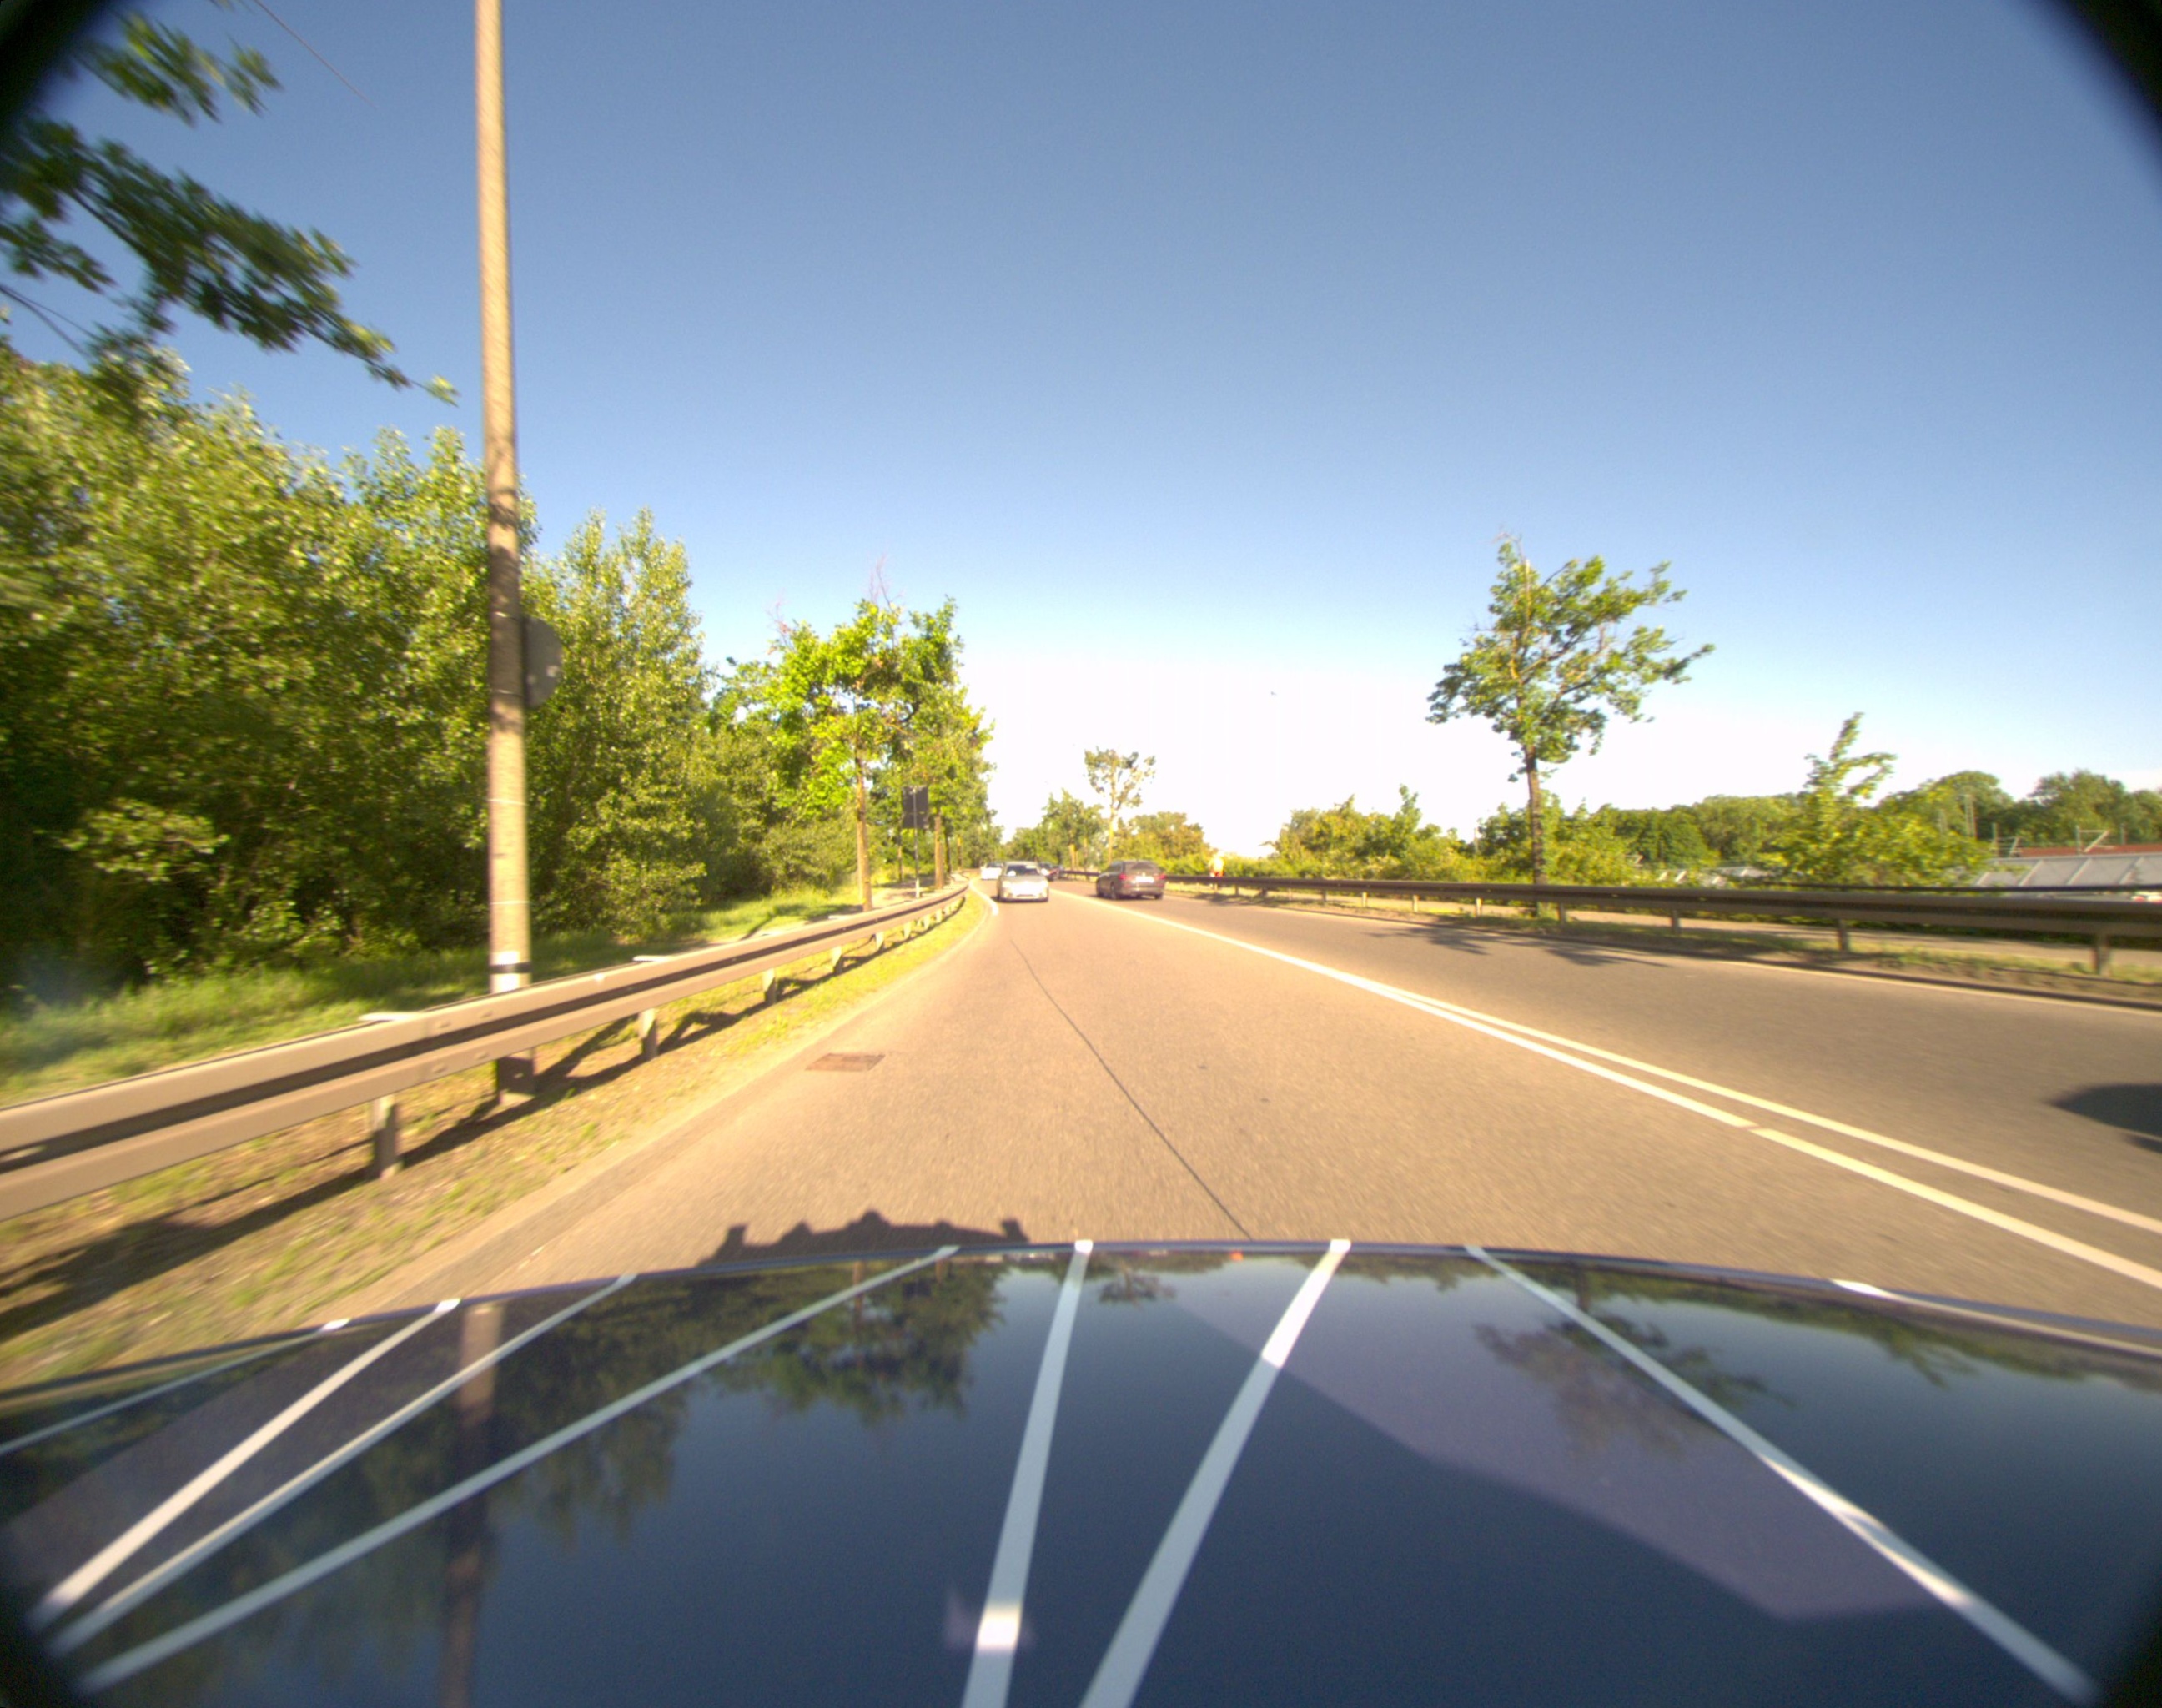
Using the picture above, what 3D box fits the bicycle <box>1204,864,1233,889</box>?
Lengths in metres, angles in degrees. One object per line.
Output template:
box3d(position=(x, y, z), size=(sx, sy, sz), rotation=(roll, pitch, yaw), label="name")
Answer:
box3d(position=(6.319, 1.012, 35.042), size=(0.662, 1.089, 2.106), rotation=(-1, 0, -10), label="bicycle")

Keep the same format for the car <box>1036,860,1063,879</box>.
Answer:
box3d(position=(-2.475, 1.150, 58.398), size=(1.697, 1.432, 4.213), rotation=(-1, 0, -8), label="car")

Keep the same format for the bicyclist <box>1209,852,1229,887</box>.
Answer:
box3d(position=(6.329, 0.700, 34.925), size=(0.653, 1.614, 0.873), rotation=(-1, 0, -10), label="bicyclist")

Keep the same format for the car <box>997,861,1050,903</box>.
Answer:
box3d(position=(-2.169, 0.973, 28.017), size=(1.684, 1.433, 3.856), rotation=(-1, 0, -8), label="car")

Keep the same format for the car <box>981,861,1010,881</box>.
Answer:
box3d(position=(-7.112, 1.357, 62.772), size=(2.152, 1.558, 4.194), rotation=(1, 0, -10), label="car")

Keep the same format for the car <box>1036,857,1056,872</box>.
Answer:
box3d(position=(-3.930, 1.178, 85.235), size=(1.735, 1.648, 3.978), rotation=(-1, 0, -10), label="car")

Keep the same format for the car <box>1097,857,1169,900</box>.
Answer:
box3d(position=(1.889, 0.887, 28.914), size=(1.815, 1.488, 4.366), rotation=(-1, 0, -9), label="car")
